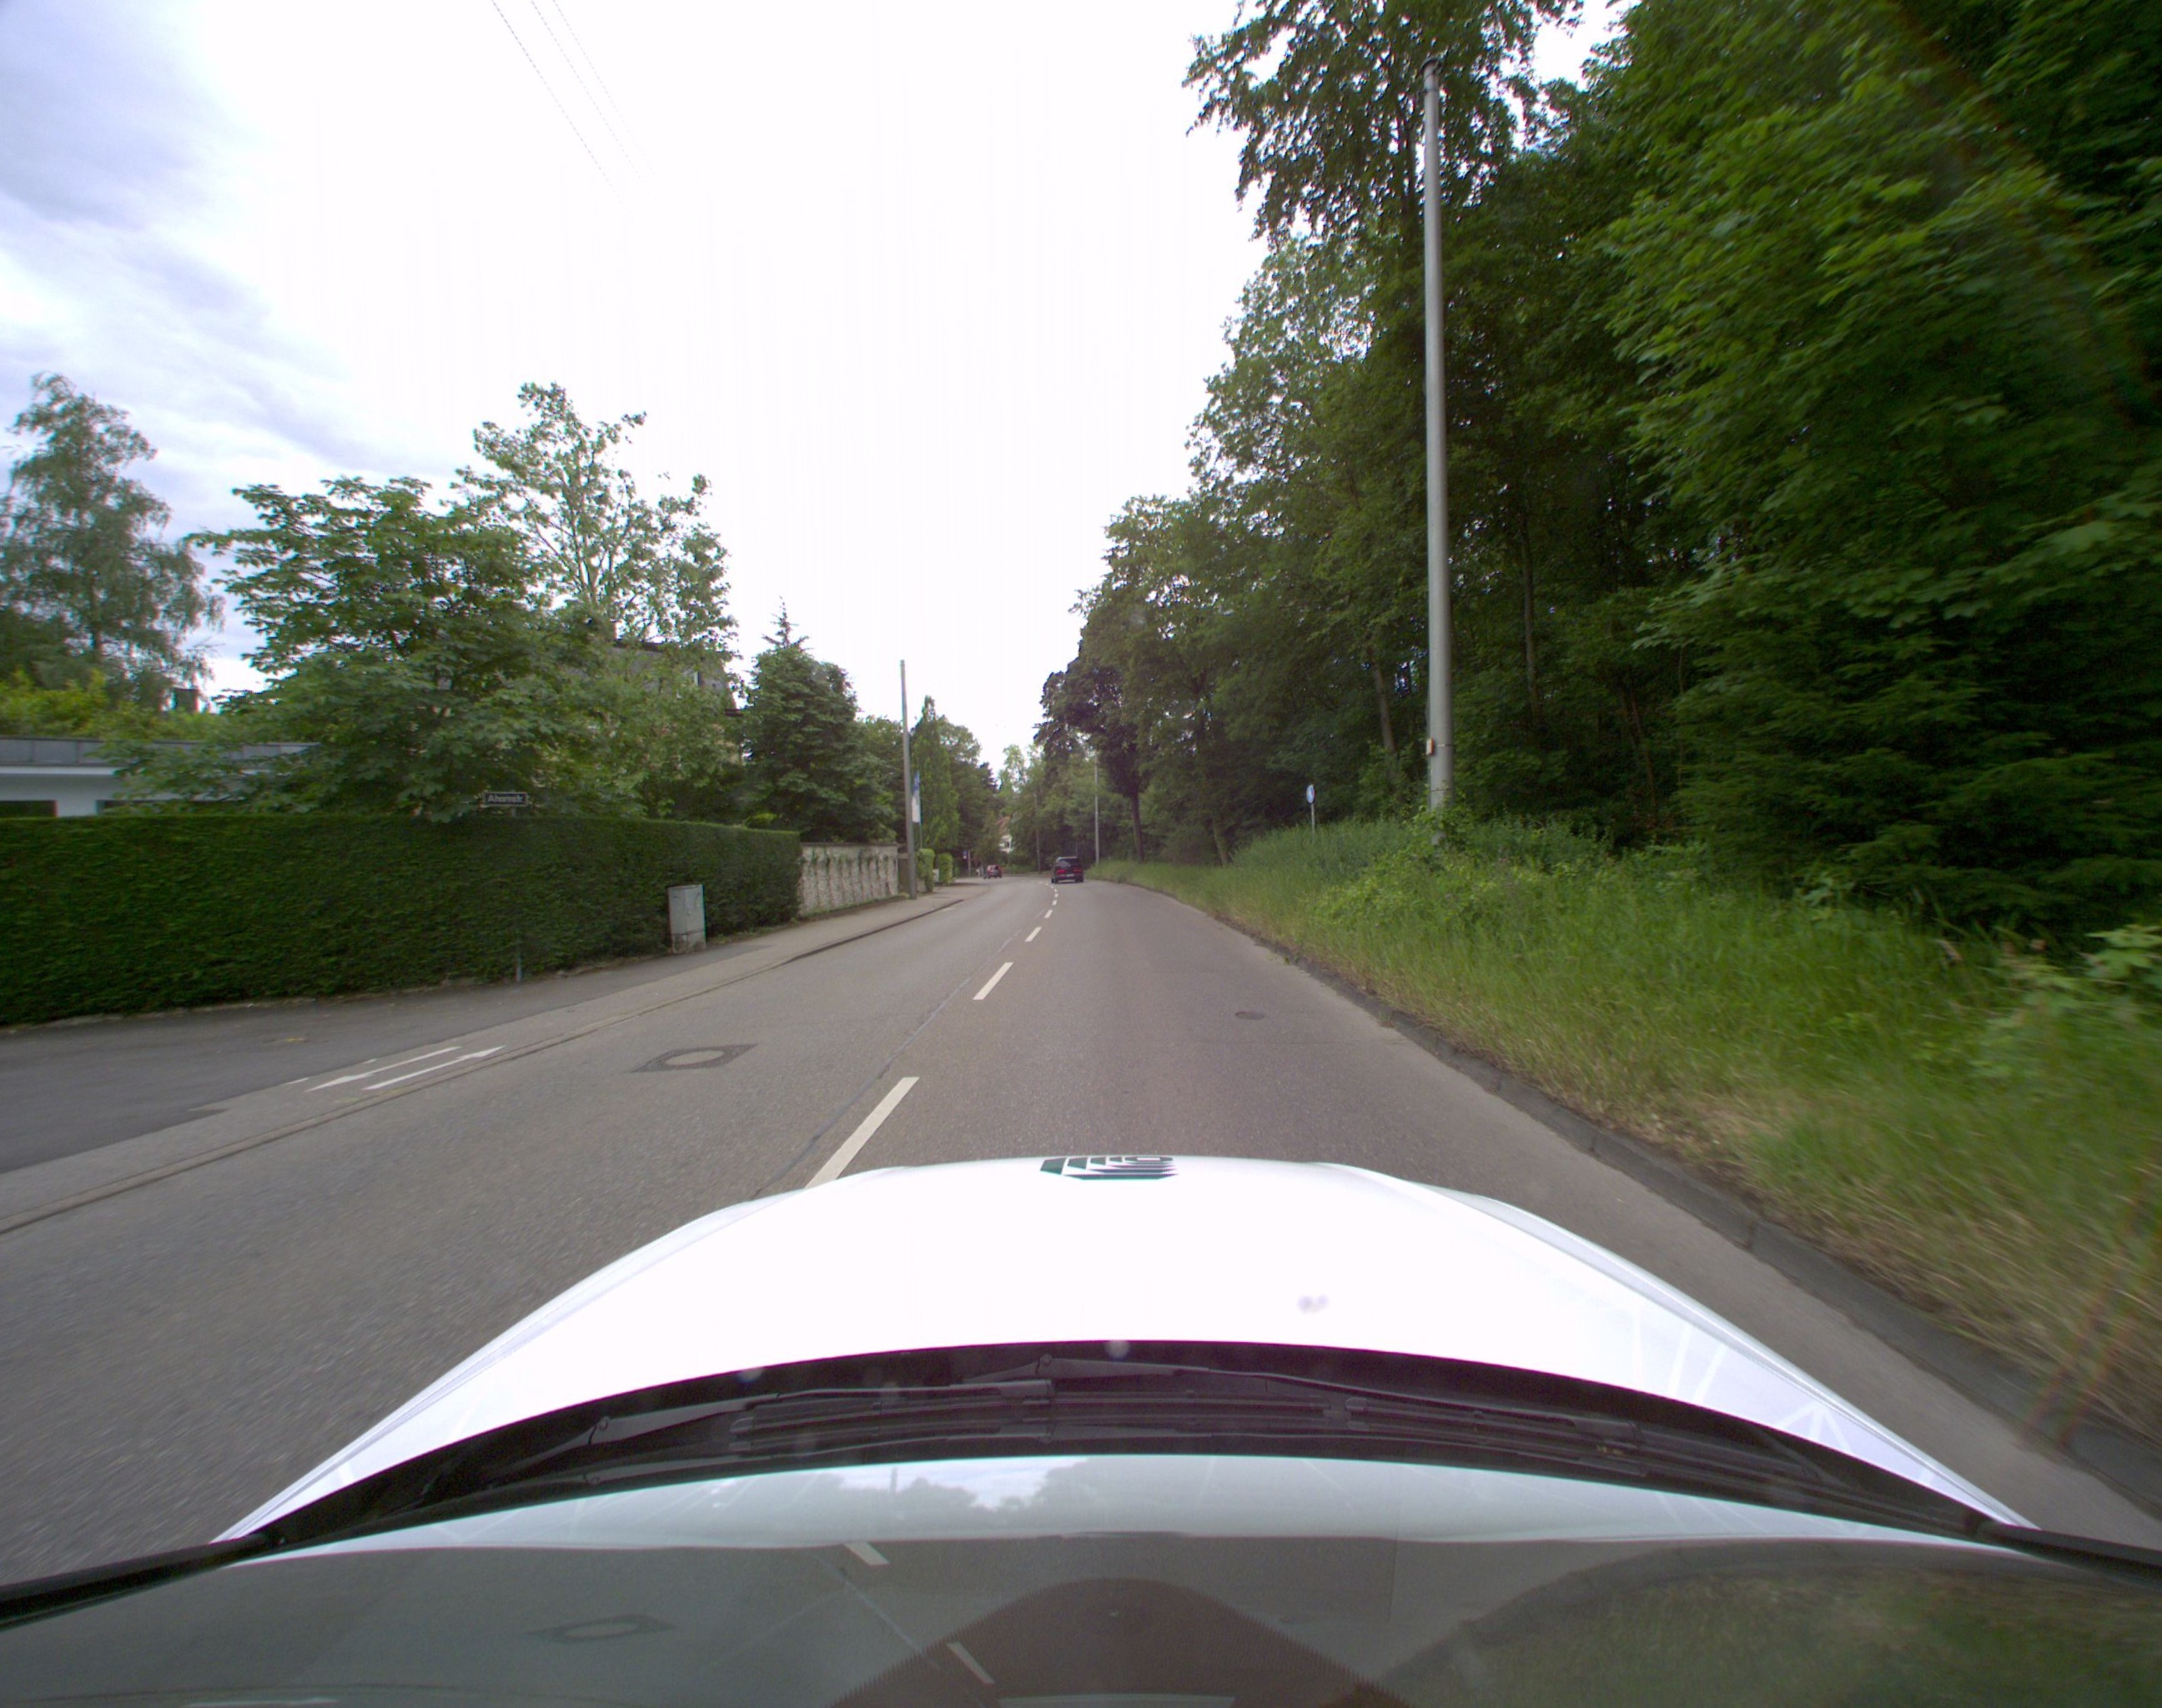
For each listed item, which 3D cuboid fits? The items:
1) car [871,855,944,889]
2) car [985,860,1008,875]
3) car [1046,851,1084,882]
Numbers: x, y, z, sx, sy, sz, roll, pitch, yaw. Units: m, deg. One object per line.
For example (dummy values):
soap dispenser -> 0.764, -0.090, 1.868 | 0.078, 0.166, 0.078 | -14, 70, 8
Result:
car -> -11.624, 1.225, 54.411 | 2.439, 2.073, 5.297 | -2, -1, -41
car -> -10.033, 1.566, 96.732 | 1.998, 1.618, 3.978 | -3, 0, -16
car -> -1.103, 0.804, 53.770 | 1.992, 1.881, 3.989 | -3, 0, -8
